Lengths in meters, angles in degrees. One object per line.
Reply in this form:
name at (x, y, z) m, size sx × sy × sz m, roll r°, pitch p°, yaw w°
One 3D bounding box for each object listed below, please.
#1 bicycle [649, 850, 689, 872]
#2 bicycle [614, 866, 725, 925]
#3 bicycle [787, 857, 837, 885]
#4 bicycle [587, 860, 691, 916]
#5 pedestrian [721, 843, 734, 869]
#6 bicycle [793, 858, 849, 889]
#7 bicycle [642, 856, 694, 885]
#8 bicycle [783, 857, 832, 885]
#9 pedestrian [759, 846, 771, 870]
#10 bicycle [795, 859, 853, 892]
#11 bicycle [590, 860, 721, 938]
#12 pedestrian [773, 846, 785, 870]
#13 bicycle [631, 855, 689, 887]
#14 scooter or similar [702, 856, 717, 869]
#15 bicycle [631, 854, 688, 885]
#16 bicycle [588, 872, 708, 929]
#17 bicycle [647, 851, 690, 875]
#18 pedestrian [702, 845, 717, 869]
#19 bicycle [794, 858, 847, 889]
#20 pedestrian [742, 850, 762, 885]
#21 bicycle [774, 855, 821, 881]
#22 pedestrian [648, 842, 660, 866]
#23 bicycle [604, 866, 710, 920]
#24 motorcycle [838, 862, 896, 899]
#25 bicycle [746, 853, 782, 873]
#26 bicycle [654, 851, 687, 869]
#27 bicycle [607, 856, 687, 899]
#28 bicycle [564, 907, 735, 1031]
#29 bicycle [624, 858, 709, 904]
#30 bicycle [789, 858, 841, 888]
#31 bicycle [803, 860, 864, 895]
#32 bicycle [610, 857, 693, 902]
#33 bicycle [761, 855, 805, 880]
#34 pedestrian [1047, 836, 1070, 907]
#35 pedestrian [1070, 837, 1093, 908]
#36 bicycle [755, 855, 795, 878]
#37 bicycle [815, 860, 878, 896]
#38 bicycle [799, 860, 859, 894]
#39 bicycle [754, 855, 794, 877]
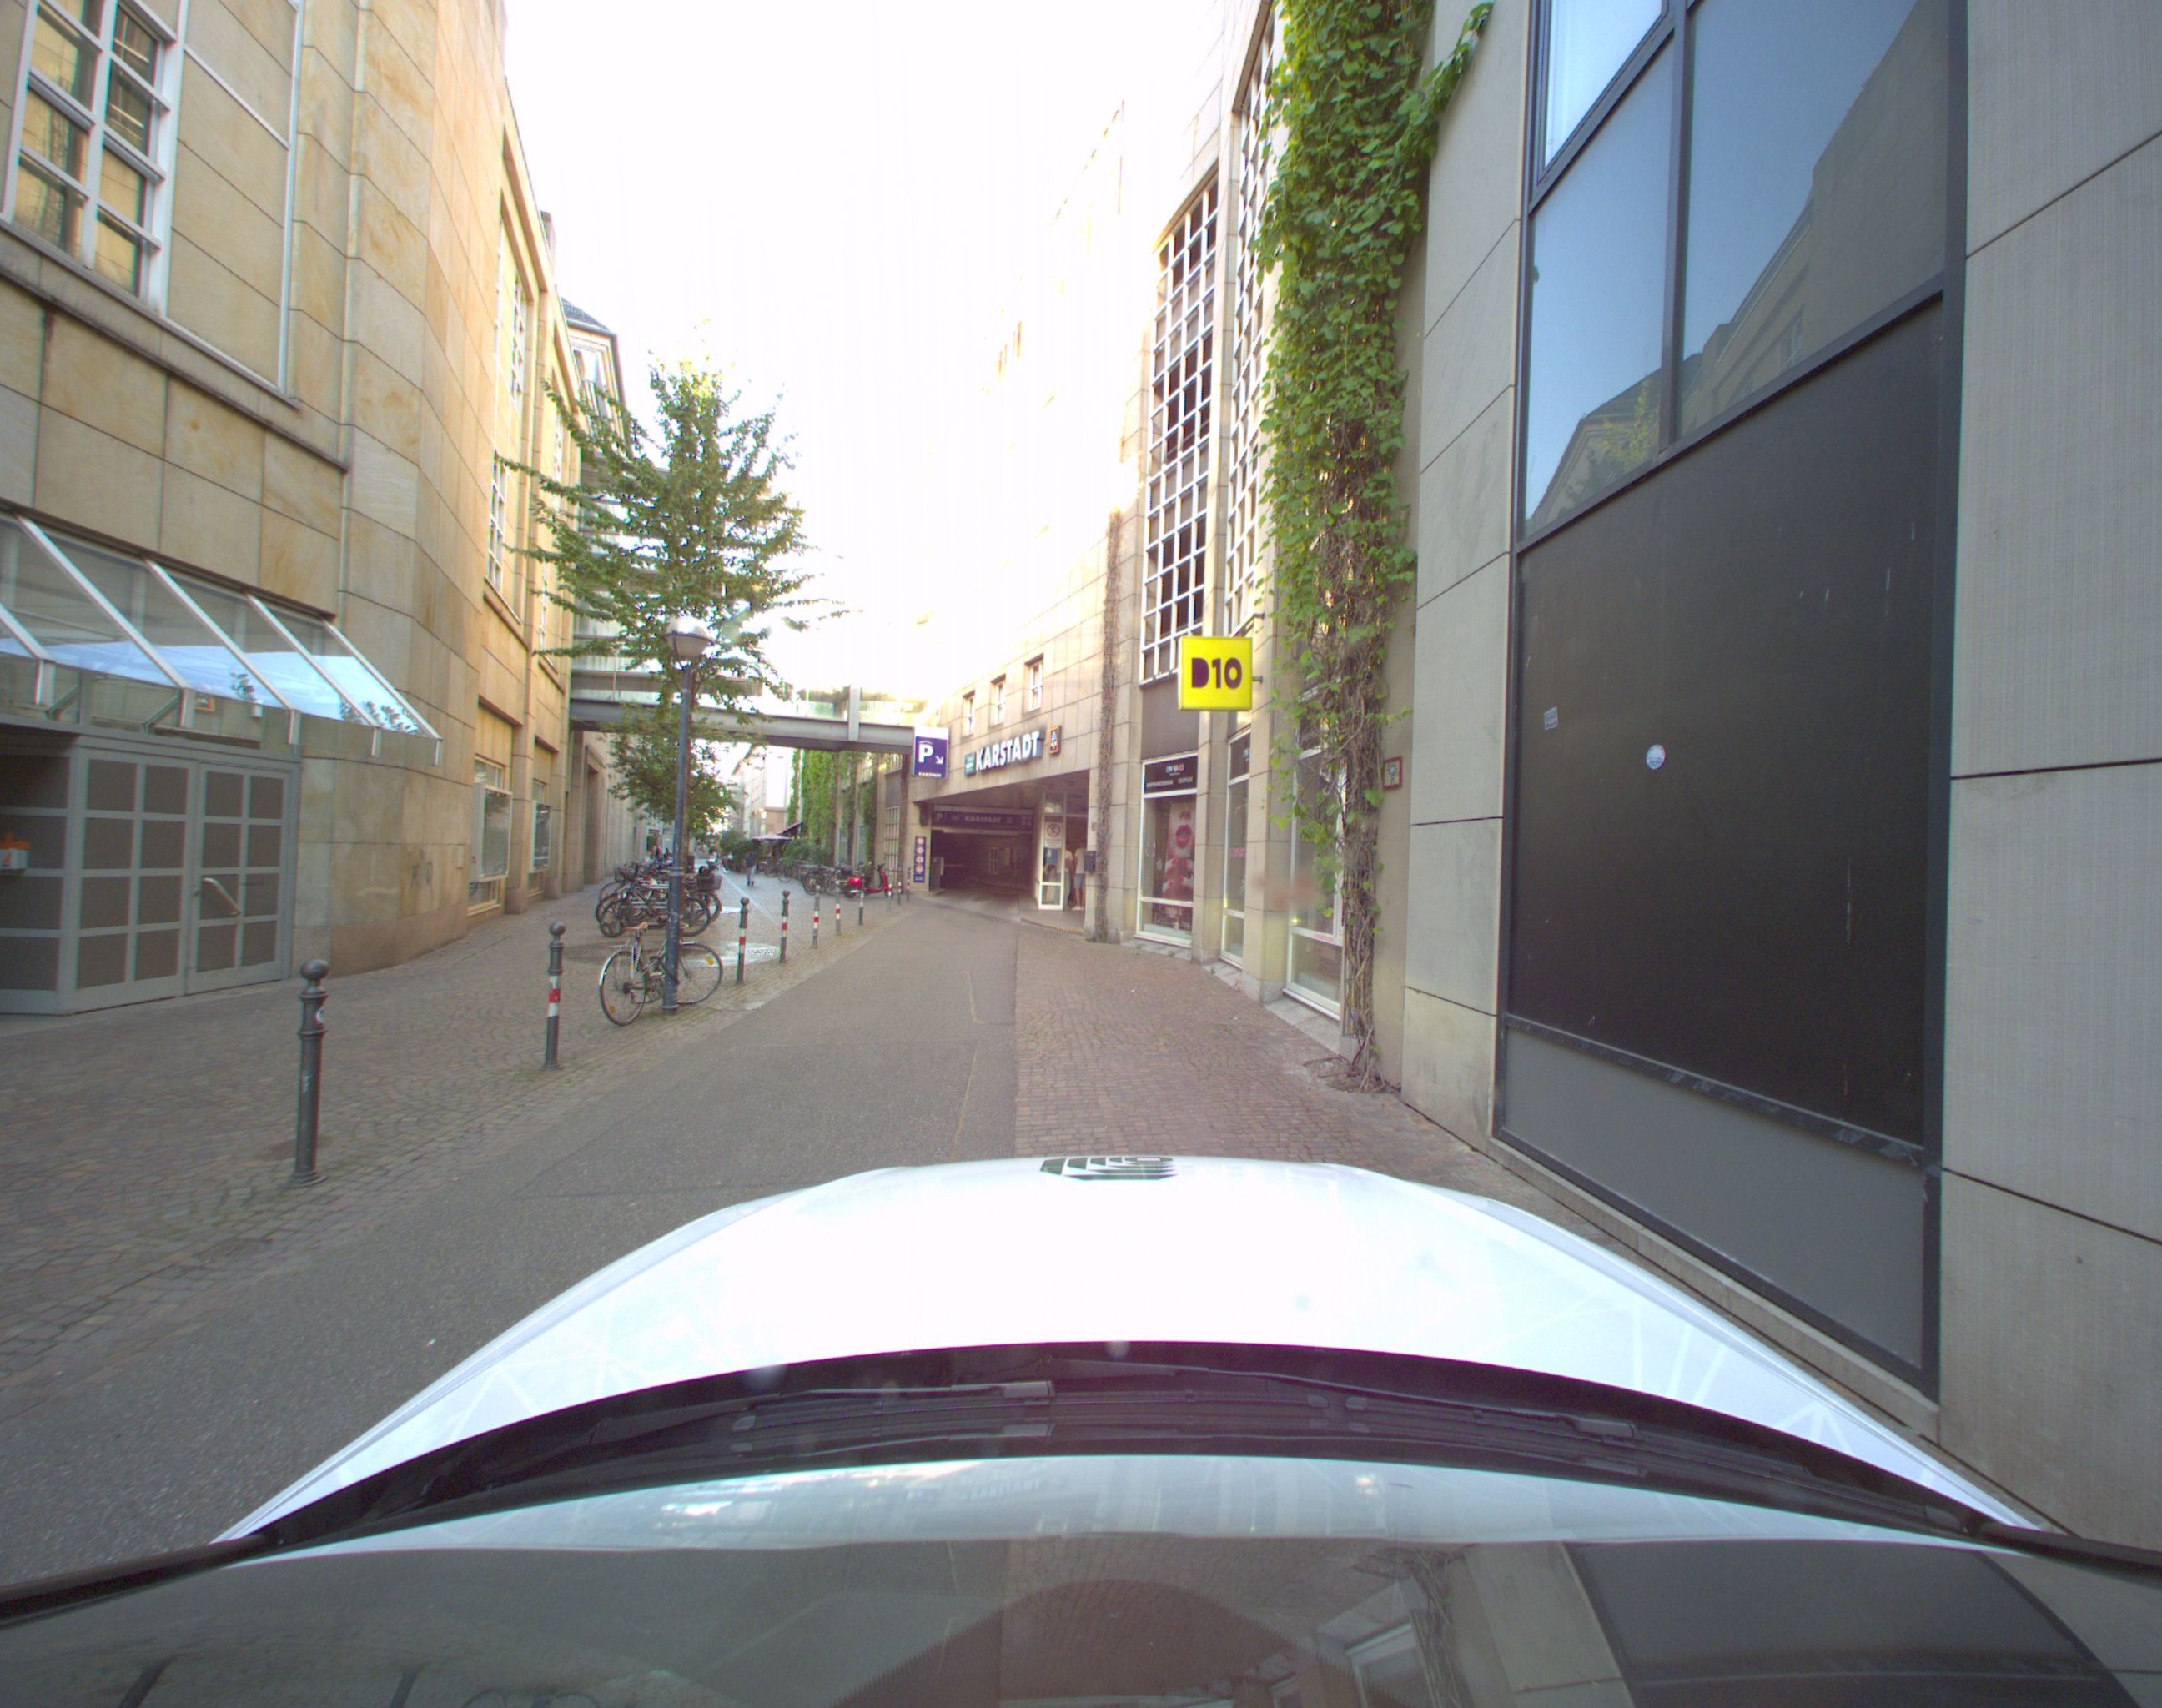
bicycle at (-23.420, 0.383, 46.336) m, size 1.920 × 1.182 × 0.691 m, roll 2°, pitch 0°, yaw -22°
bicycle at (-8.193, 0.827, 16.295) m, size 1.922 × 1.101 × 0.690 m, roll 2°, pitch 0°, yaw -25°
bicycle at (-11.561, 0.715, 35.004) m, size 2.003 × 1.182 × 0.688 m, roll 0°, pitch 0°, yaw -24°
bicycle at (-9.850, 0.758, 18.232) m, size 1.920 × 1.182 × 0.691 m, roll 2°, pitch 0°, yaw -22°
pedestrian at (-24.546, 0.132, 56.490) m, size 0.769 × 1.804 × 0.770 m, roll 2°, pitch -1°, yaw -26°
bicycle at (-10.215, 0.752, 32.015) m, size 2.003 × 1.182 × 0.796 m, roll 0°, pitch 0°, yaw -24°
bicycle at (-17.760, 0.710, 35.048) m, size 1.920 × 1.182 × 0.691 m, roll 2°, pitch 0°, yaw -22°
bicycle at (-12.089, 0.729, 36.031) m, size 2.003 × 1.182 × 0.688 m, roll 0°, pitch 0°, yaw -24°
pedestrian at (-23.707, 0.286, 61.143) m, size 0.778 × 1.804 × 0.761 m, roll 1°, pitch -1°, yaw -24°
bicycle at (-9.665, 0.785, 30.608) m, size 2.003 × 1.182 × 0.796 m, roll 0°, pitch 0°, yaw -24°
bicycle at (-7.273, 0.754, 14.043) m, size 1.922 × 1.261 × 0.802 m, roll 2°, pitch 0°, yaw -25°
pedestrian at (-22.701, 0.316, 61.276) m, size 0.778 × 1.804 × 0.761 m, roll 1°, pitch -1°, yaw -24°
bicycle at (-16.276, 0.672, 31.533) m, size 1.920 × 1.182 × 0.691 m, roll 2°, pitch 0°, yaw -22°
scooter or similar at (-25.357, 0.597, 55.614) m, size 0.896 × 0.843 × 0.904 m, roll 1°, pitch 0°, yaw -26°
bicycle at (-16.698, 0.617, 32.303) m, size 1.920 × 1.182 × 0.691 m, roll 2°, pitch 0°, yaw -22°
bicycle at (-8.124, 0.872, 15.379) m, size 1.922 × 0.994 × 0.690 m, roll 2°, pitch 0°, yaw -25°
bicycle at (-21.535, 0.487, 42.581) m, size 1.920 × 1.182 × 0.691 m, roll 2°, pitch 0°, yaw -22°
pedestrian at (-25.747, 0.206, 56.434) m, size 0.896 × 1.639 × 0.904 m, roll 1°, pitch -1°, yaw -26°
bicycle at (-10.551, 0.771, 32.974) m, size 2.003 × 1.182 × 0.688 m, roll 0°, pitch 0°, yaw -24°
pedestrian at (-14.365, 0.591, 35.542) m, size 0.752 × 1.509 × 0.632 m, roll 2°, pitch -1°, yaw -27°
bicycle at (-13.324, 0.664, 38.281) m, size 2.003 × 1.182 × 0.688 m, roll 0°, pitch 0°, yaw -24°
pedestrian at (-33.688, -0.006, 64.251) m, size 0.778 × 1.804 × 0.629 m, roll 1°, pitch -1°, yaw -24°
bicycle at (-9.017, 0.834, 17.407) m, size 1.920 × 1.101 × 0.691 m, roll 2°, pitch 0°, yaw -22°
motorcycle at (-6.919, 0.849, 26.305) m, size 1.753 × 1.155 × 0.590 m, roll 0°, pitch 0°, yaw -22°
bicycle at (-18.971, 0.511, 48.744) m, size 2.003 × 1.182 × 0.688 m, roll 0°, pitch 0°, yaw -24°
bicycle at (-28.052, 0.426, 55.638) m, size 1.920 × 1.182 × 0.691 m, roll 2°, pitch 0°, yaw -22°
bicycle at (-12.480, 0.685, 23.474) m, size 1.920 × 1.182 × 0.691 m, roll 2°, pitch 0°, yaw -22°
bicycle at (-4.140, 1.061, 7.972) m, size 0.502 × 0.966 × 1.699 m, roll 1°, pitch 0°, yaw 10°
bicycle at (-11.067, 0.726, 21.821) m, size 1.920 × 1.182 × 0.691 m, roll 2°, pitch 0°, yaw -22°
bicycle at (-11.037, 0.778, 33.796) m, size 2.003 × 1.182 × 0.688 m, roll 0°, pitch 0°, yaw -24°
bicycle at (-8.719, 0.824, 28.677) m, size 2.003 × 1.182 × 0.690 m, roll 0°, pitch 0°, yaw -24°
bicycle at (-11.835, 0.705, 22.490) m, size 1.920 × 1.182 × 0.691 m, roll 2°, pitch 0°, yaw -22°
bicycle at (-14.638, 0.652, 39.978) m, size 2.003 × 1.182 × 0.688 m, roll 0°, pitch 0°, yaw -24°
pedestrian at (-0.597, 0.458, 21.696) m, size 0.540 × 1.846 × 0.408 m, roll 2°, pitch 0°, yaw 1°
pedestrian at (0.006, 0.480, 21.516) m, size 0.540 × 1.861 × 0.408 m, roll 2°, pitch 0°, yaw 1°
bicycle at (-16.404, 0.651, 43.671) m, size 2.003 × 1.182 × 0.688 m, roll 0°, pitch 0°, yaw -24°
bicycle at (-8.012, 0.807, 27.882) m, size 2.003 × 1.182 × 0.690 m, roll 0°, pitch 0°, yaw -24°
bicycle at (-9.126, 0.803, 29.522) m, size 2.003 × 1.182 × 0.796 m, roll 0°, pitch 0°, yaw -24°
bicycle at (-16.741, 0.632, 44.452) m, size 2.003 × 1.182 × 0.688 m, roll 0°, pitch 0°, yaw -24°
